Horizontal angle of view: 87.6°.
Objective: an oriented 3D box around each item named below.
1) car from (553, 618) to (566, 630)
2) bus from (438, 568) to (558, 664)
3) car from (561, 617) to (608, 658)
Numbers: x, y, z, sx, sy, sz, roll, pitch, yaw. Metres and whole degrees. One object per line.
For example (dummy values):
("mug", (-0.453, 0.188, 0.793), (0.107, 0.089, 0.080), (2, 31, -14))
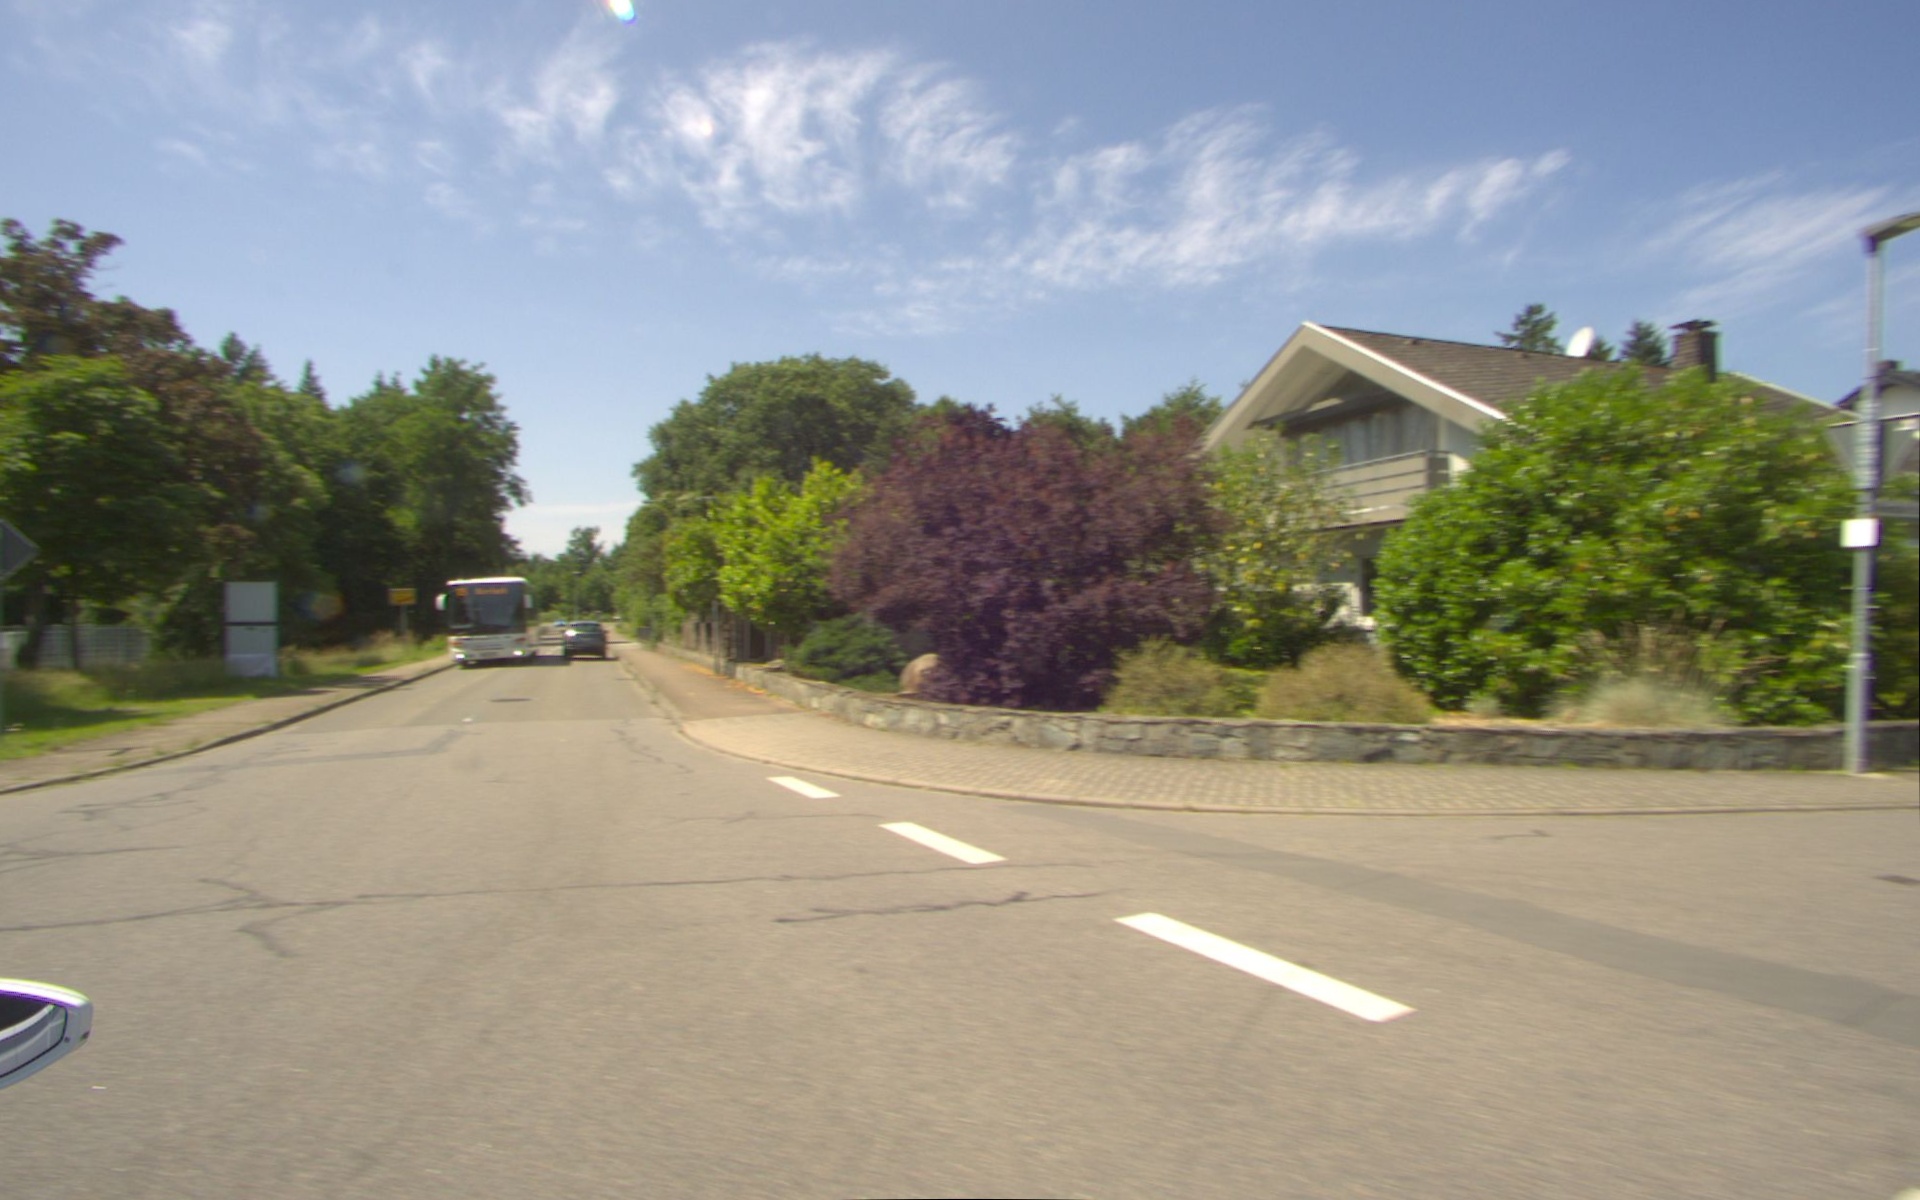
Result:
("car", (-67.365, 4.061, 168.398), (1.926, 1.884, 3.986), (0, -1, -24))
("bus", (-18.558, 0.671, 41.069), (3.137, 3.286, 12.684), (0, -1, -19))
("car", (-15.792, 1.560, 42.221), (1.738, 1.638, 3.991), (1, -2, -20))
